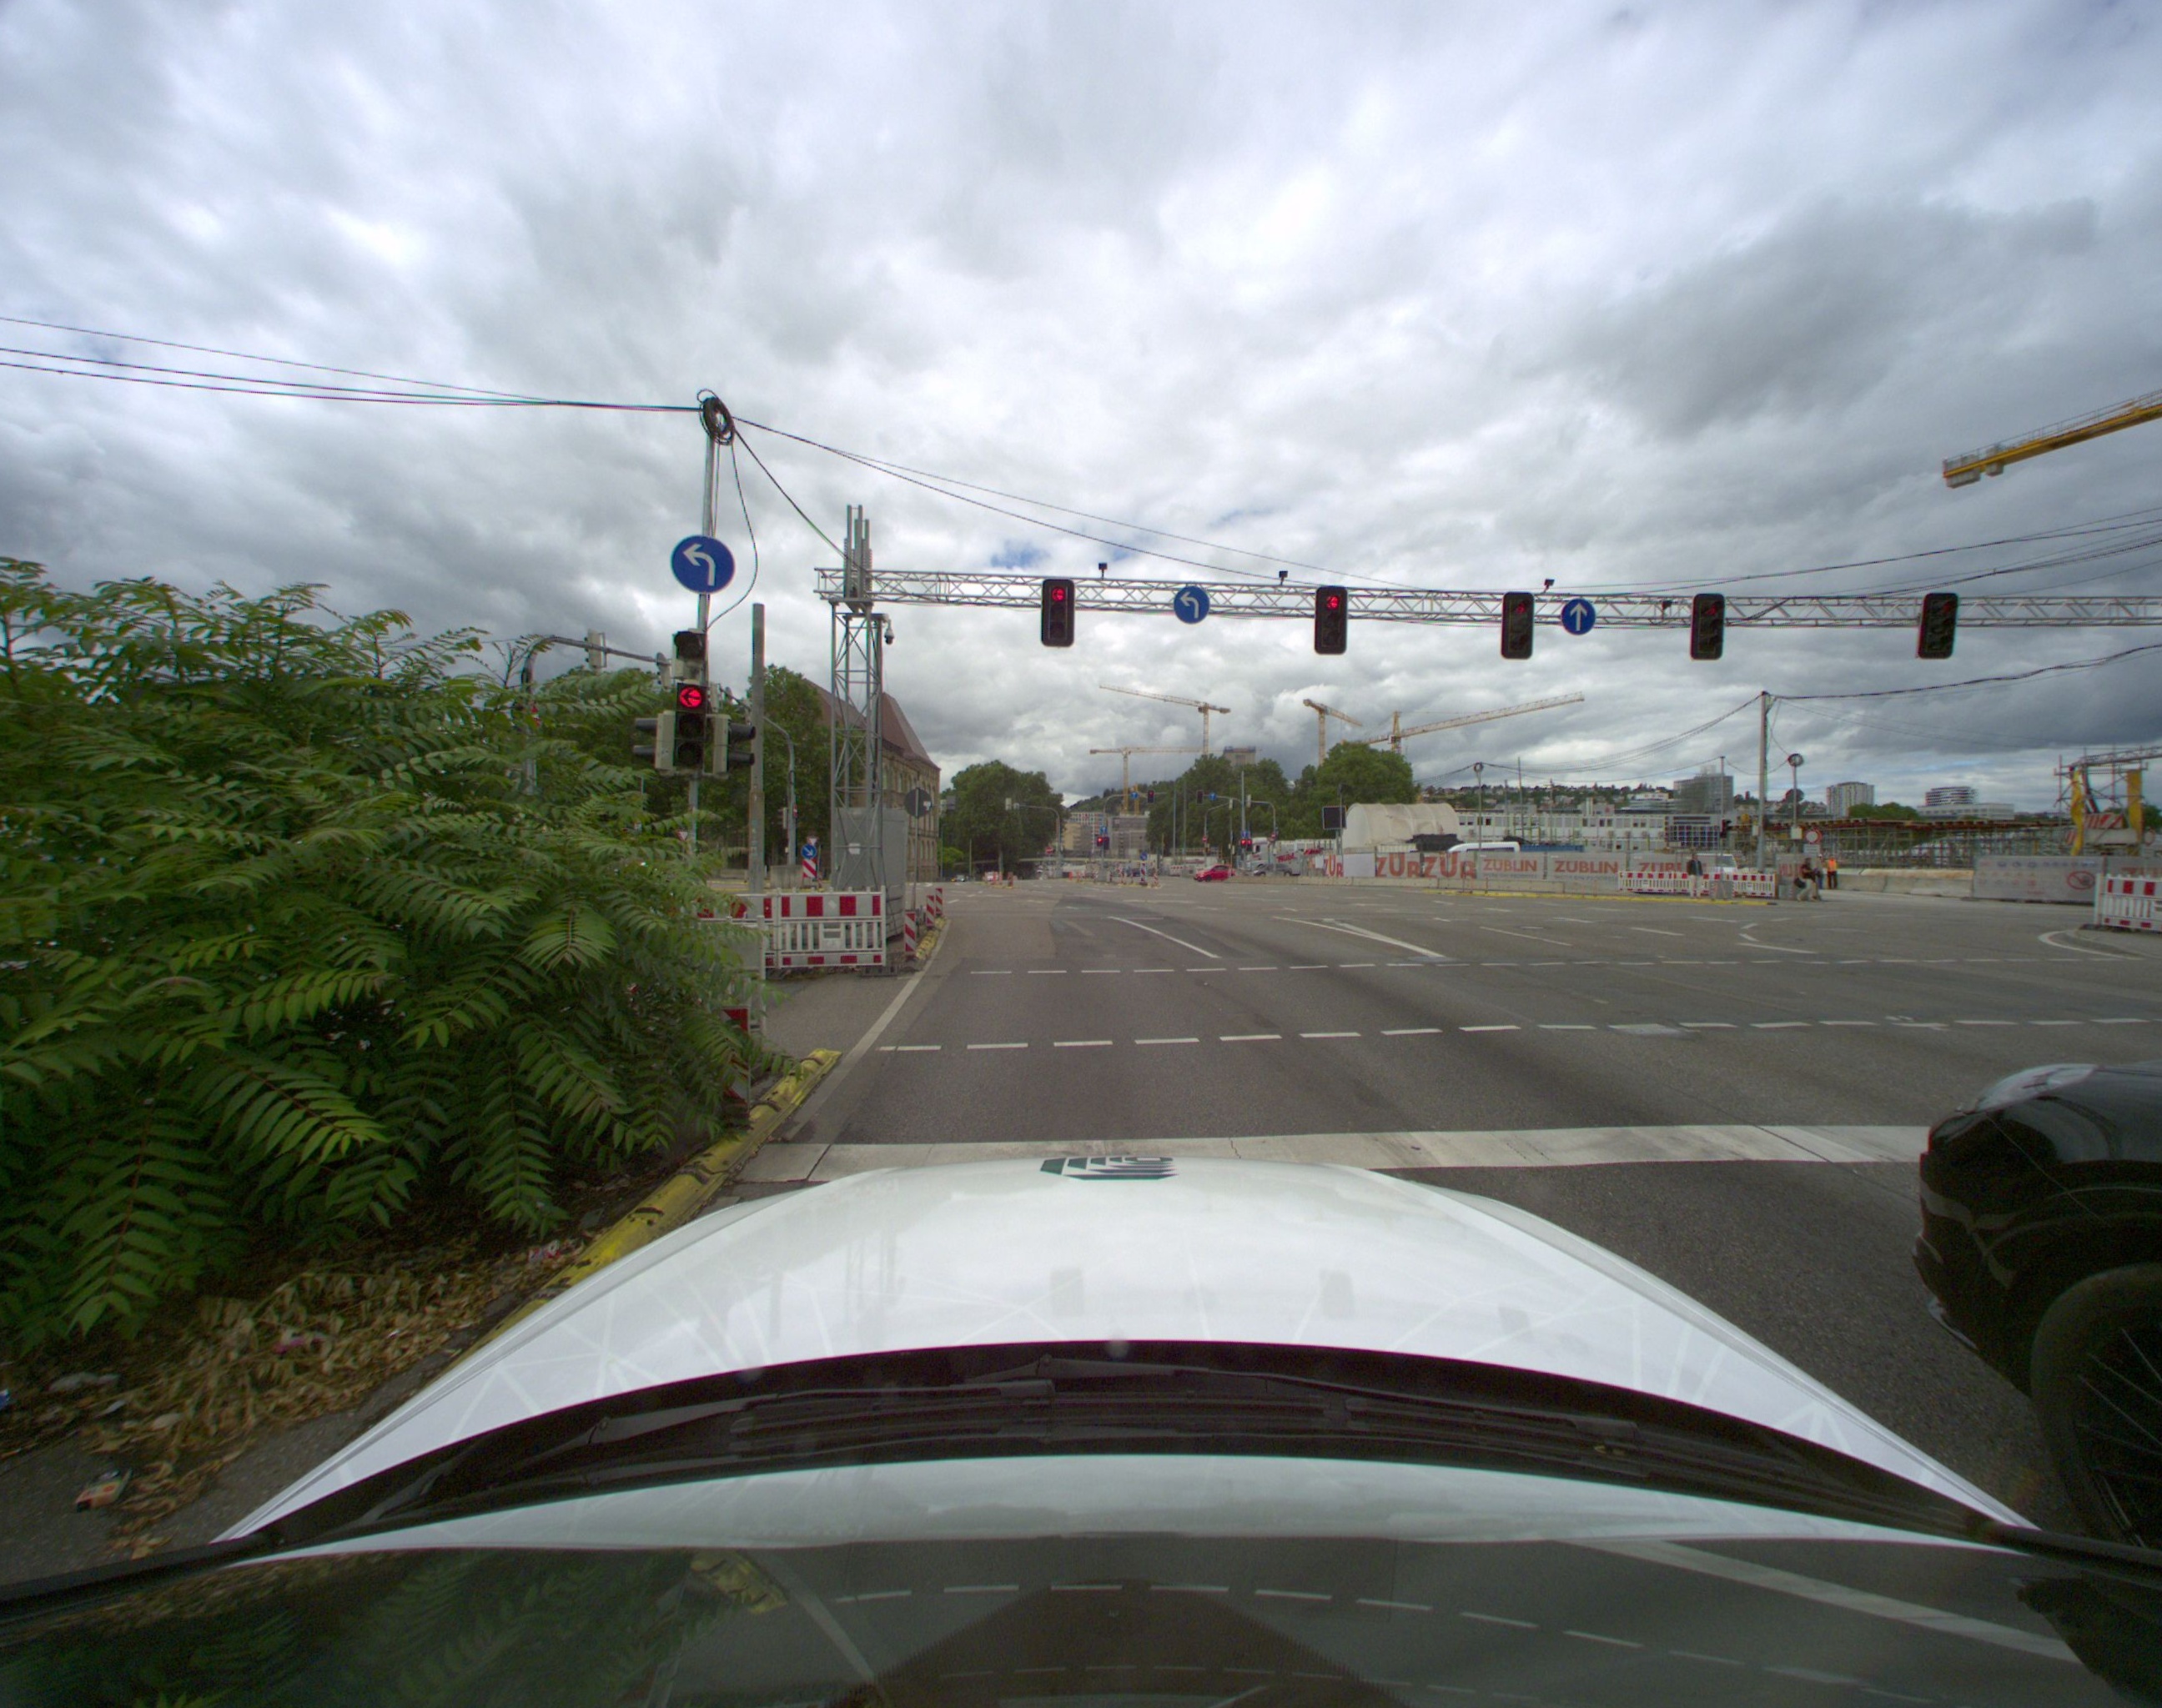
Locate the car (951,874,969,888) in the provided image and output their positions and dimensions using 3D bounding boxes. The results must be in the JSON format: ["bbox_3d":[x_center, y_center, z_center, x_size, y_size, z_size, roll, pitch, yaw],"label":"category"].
[{"bbox_3d":[-17.370,3.814,116.824,1.987,1.838,3.998,0,-1,-1],"label":"car"}]

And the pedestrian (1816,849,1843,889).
[{"bbox_3d":[38.282,0.746,41.651,0.673,2.014,0.869,-1,-1,14],"label":"pedestrian"}]

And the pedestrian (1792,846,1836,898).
[{"bbox_3d":[29.025,0.715,32.258,1.033,2.014,1.040,-1,-1,27],"label":"pedestrian"}]

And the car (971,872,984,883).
[{"bbox_3d":[-18.847,4.280,148.522,1.987,1.838,3.998,0,-1,-1],"label":"car"}]

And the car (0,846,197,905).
[{"bbox_3d":[-27.711,0.588,22.598,4.095,1.547,1.999,0,-1,-2],"label":"car"}]

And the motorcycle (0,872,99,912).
[{"bbox_3d":[-25.549,0.918,19.824,2.342,0.941,0.697,0,-1,-2],"label":"motorcycle"}]

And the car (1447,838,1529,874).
[{"bbox_3d":[23.462,0.122,47.094,3.955,2.014,2.009,-1,-1,17],"label":"car"}]

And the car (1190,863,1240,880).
[{"bbox_3d":[11.408,1.516,69.545,3.820,1.386,1.792,0,-1,-20],"label":"car"}]

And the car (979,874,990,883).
[{"bbox_3d":[-20.246,5.174,170.879,1.987,1.838,3.998,0,-1,-1],"label":"car"}]

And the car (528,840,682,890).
[{"bbox_3d":[-17.604,0.402,30.307,4.485,1.759,1.995,0,-1,-7],"label":"car"}]

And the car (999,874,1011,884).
[{"bbox_3d":[-15.494,5.070,166.433,1.987,1.838,3.998,0,-1,-1],"label":"car"}]

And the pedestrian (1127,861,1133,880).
[{"bbox_3d":[4.929,1.670,82.143,0.583,1.840,0.604,0,-1,-2],"label":"pedestrian"}]

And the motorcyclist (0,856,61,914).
[{"bbox_3d":[-25.677,0.748,19.825,0.786,1.380,0.697,0,-1,-2],"label":"motorcyclist"}]

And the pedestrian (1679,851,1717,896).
[{"bbox_3d":[25.749,0.812,33.998,1.035,1.848,0.794,-1,-1,17],"label":"pedestrian"}]

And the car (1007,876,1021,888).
[{"bbox_3d":[-11.508,4.783,139.869,1.987,1.838,3.998,0,-1,-1],"label":"car"}]

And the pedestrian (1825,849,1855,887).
[{"bbox_3d":[39.091,0.701,41.962,0.677,1.916,0.865,0,-1,-4],"label":"pedestrian"}]

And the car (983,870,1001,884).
[{"bbox_3d":[-11.641,3.003,107.079,1.987,1.838,3.998,0,-1,-1],"label":"car"}]

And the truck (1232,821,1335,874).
[{"bbox_3d":[19.772,-0.621,79.474,9.746,4.961,3.093,0,-1,-20],"label":"truck"}]

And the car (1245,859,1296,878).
[{"bbox_3d":[17.380,1.331,74.688,4.176,1.701,1.955,0,-1,-18],"label":"car"}]

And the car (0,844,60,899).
[{"bbox_3d":[-32.633,0.515,23.330,4.095,1.547,1.999,0,-1,-2],"label":"car"}]

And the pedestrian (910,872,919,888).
[{"bbox_3d":[-21.540,3.335,105.170,0.946,2.014,0.767,0,-1,3],"label":"pedestrian"}]

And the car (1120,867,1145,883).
[{"bbox_3d":[6.464,2.652,102.838,1.998,2.014,3.978,0,-1,-16],"label":"car"}]
